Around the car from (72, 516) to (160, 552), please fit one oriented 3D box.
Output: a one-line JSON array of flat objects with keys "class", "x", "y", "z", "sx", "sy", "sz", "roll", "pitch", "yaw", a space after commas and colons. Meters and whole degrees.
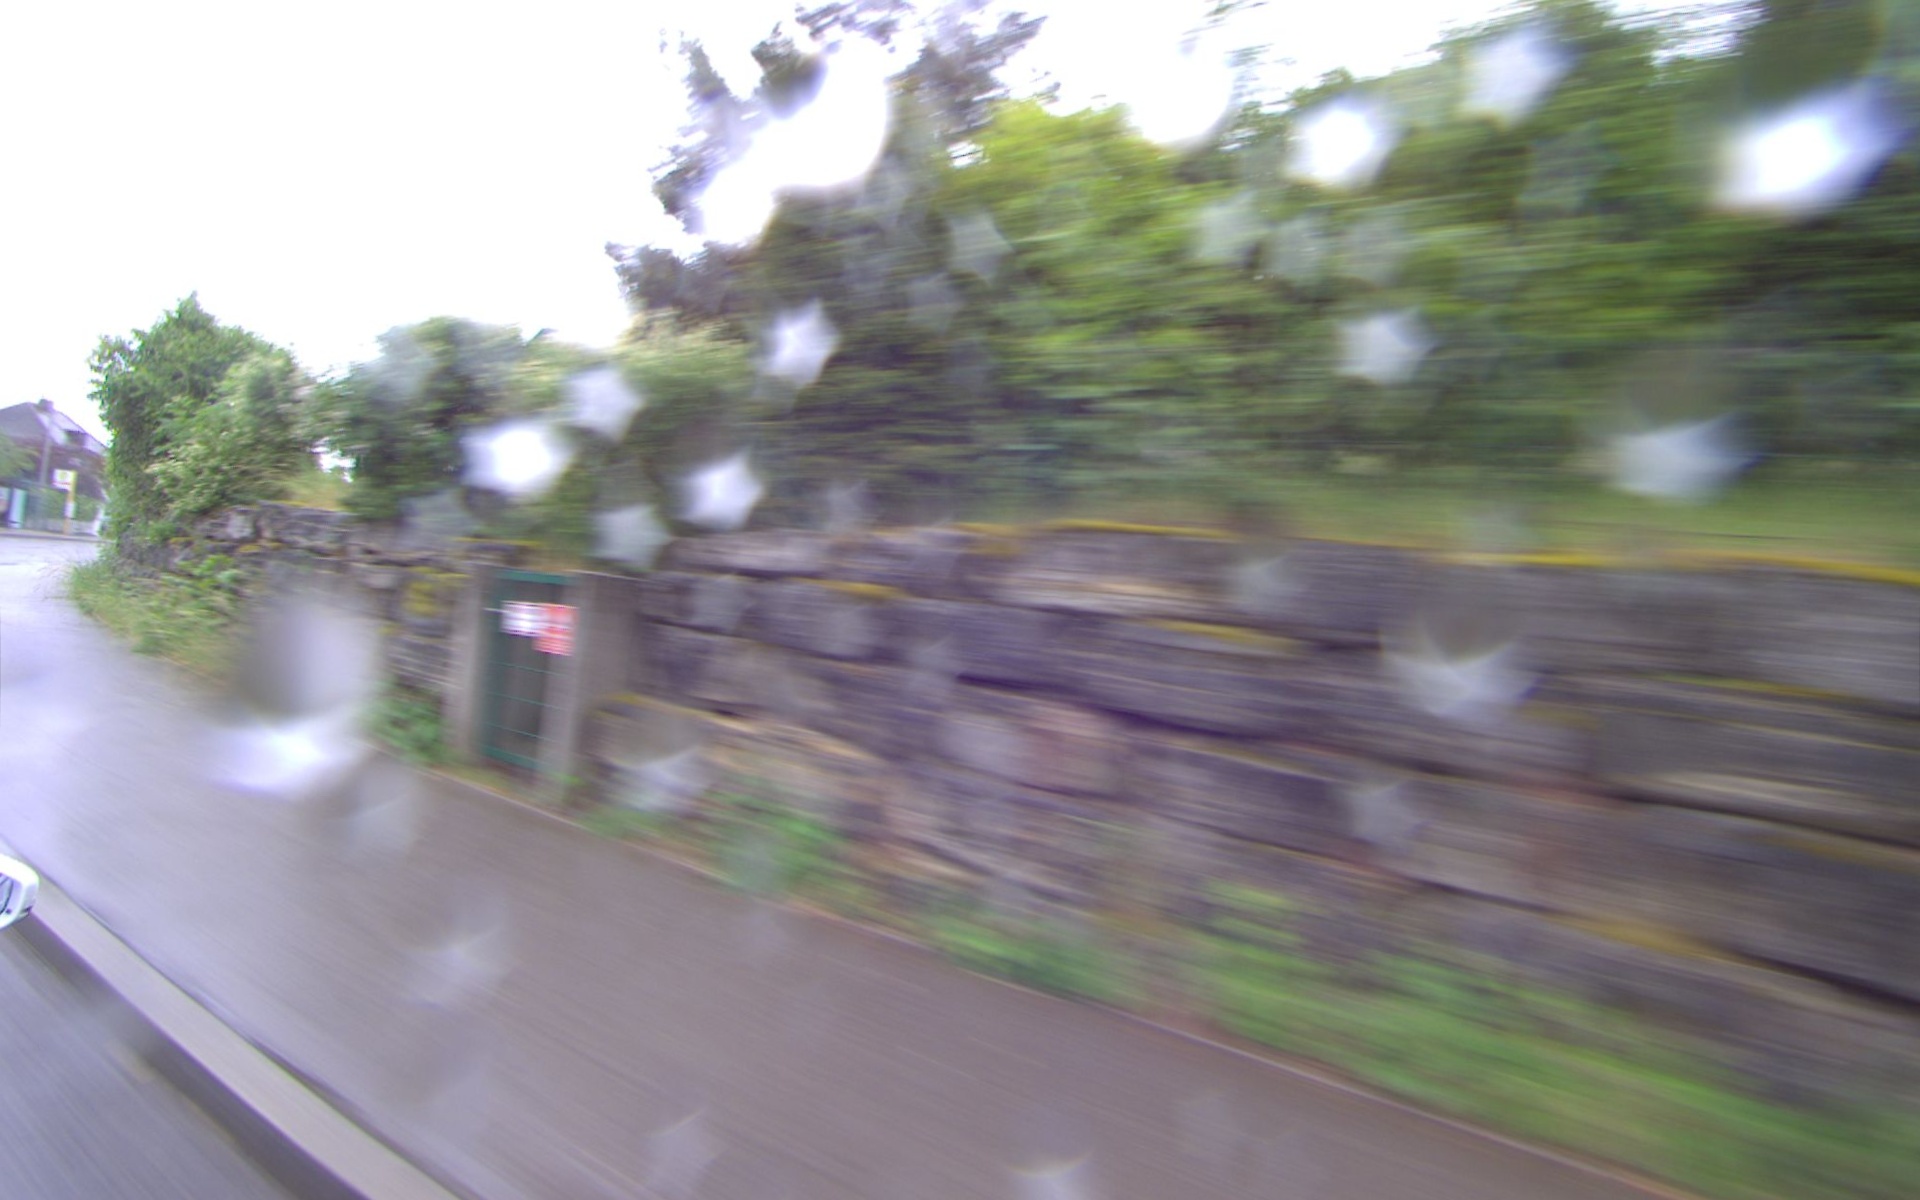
[{"class": "car", "x": -53.946, "y": -4.211, "z": 64.353, "sx": 3.810, "sy": 1.590, "sz": 1.776, "roll": 9, "pitch": -2, "yaw": -24}]
